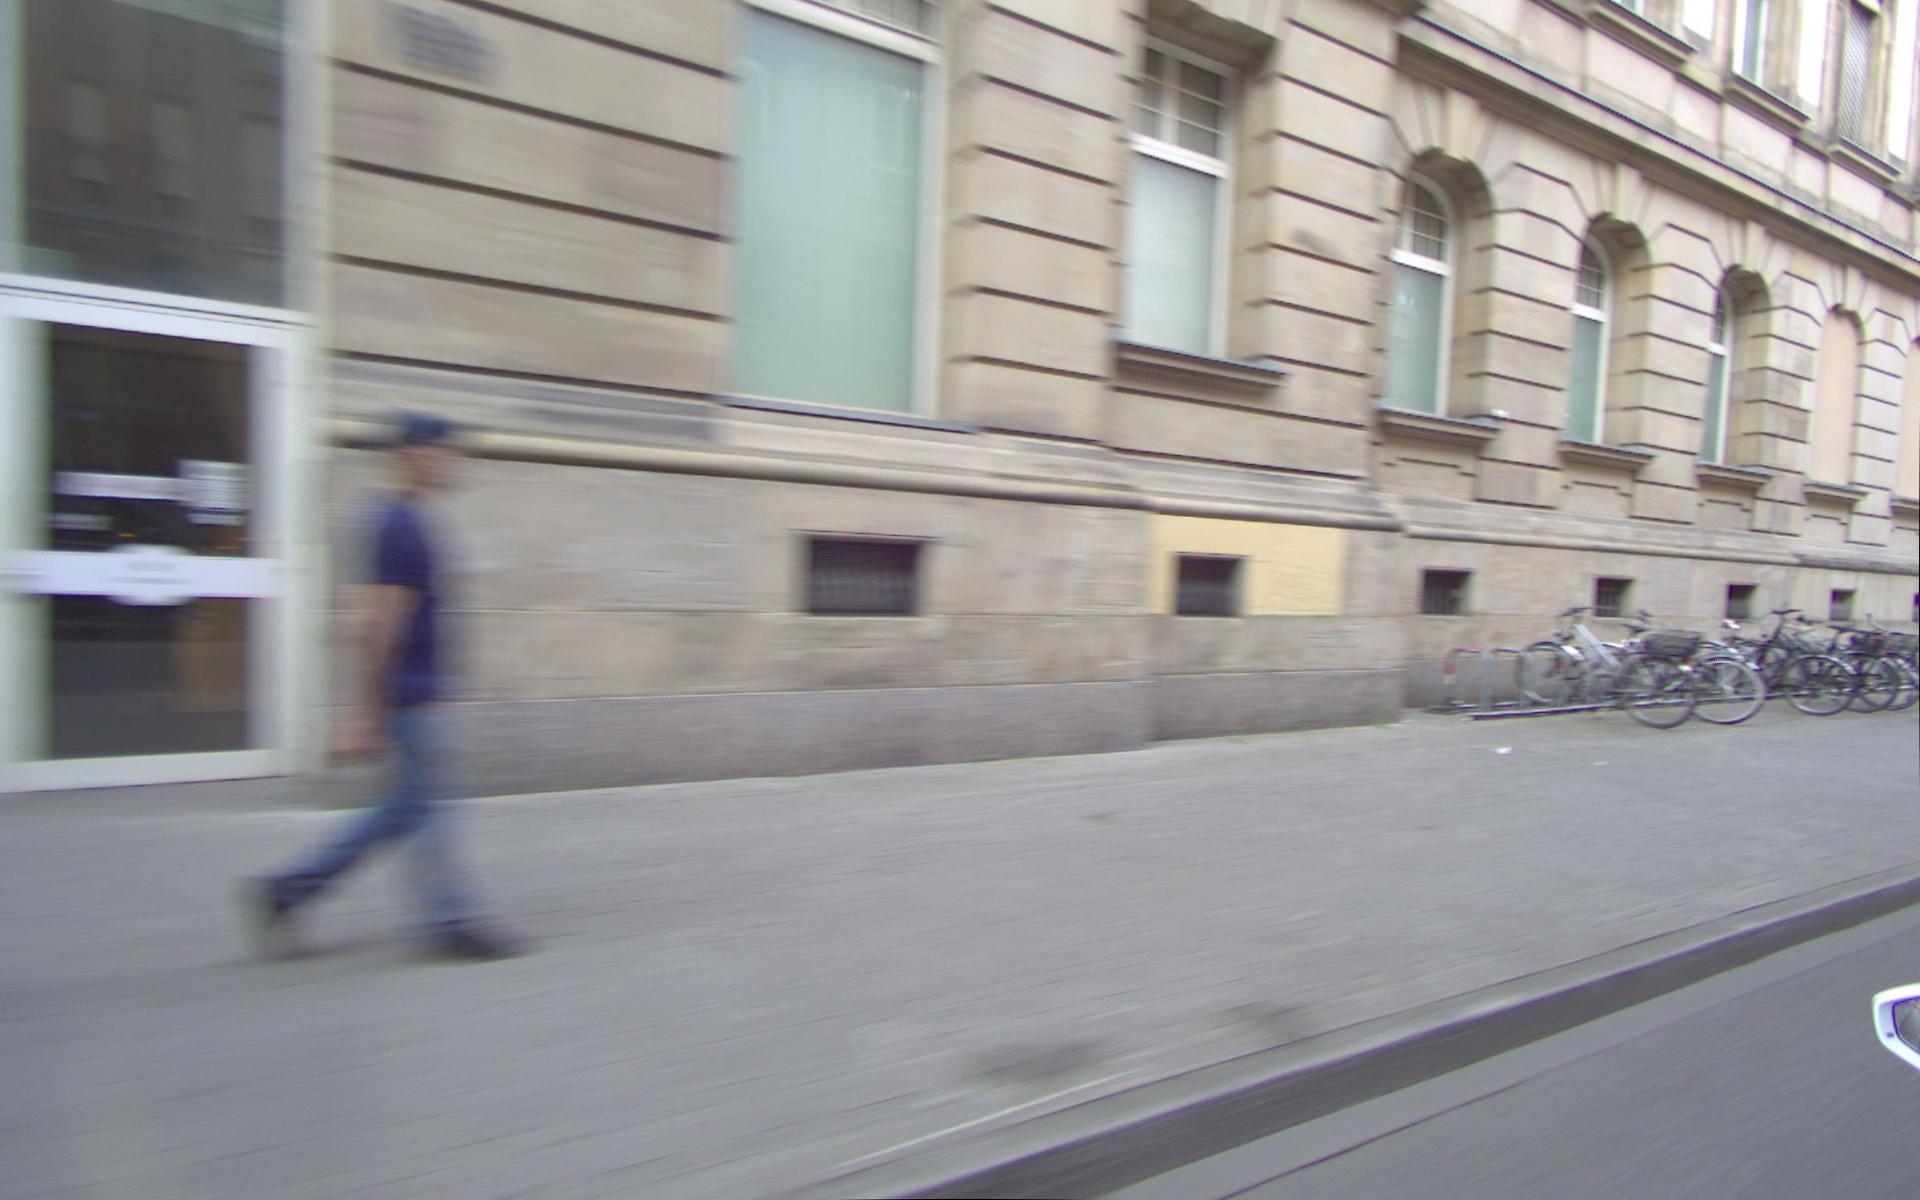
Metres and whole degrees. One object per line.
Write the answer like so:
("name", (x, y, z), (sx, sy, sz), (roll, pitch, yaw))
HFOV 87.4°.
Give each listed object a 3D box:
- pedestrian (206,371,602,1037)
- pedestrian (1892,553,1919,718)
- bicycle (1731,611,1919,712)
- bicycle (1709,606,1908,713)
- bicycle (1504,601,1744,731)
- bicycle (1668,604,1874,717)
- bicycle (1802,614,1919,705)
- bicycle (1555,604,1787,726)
("pedestrian", (-1.757, 0.274, 3.243), (0.958, 1.774, 0.805), (2, 3, -30))
("pedestrian", (11.358, 0.422, 11.612), (0.747, 1.876, 0.584), (0, 5, -35))
("bicycle", (11.359, 0.759, 13.095), (0.613, 1.076, 1.924), (1, 4, -35))
("bicycle", (10.662, 0.711, 12.693), (0.495, 1.122, 1.782), (1, 4, -35))
("bicycle", (6.720, 0.622, 10.295), (0.612, 1.076, 1.927), (1, 3, -30))
("bicycle", (9.663, 0.684, 12.049), (0.495, 1.122, 1.782), (1, 4, -35))
("bicycle", (12.454, 0.801, 13.238), (0.613, 1.076, 1.927), (2, 3, -31))
("bicycle", (7.727, 0.661, 11.022), (0.613, 1.076, 1.924), (1, 4, -35))
